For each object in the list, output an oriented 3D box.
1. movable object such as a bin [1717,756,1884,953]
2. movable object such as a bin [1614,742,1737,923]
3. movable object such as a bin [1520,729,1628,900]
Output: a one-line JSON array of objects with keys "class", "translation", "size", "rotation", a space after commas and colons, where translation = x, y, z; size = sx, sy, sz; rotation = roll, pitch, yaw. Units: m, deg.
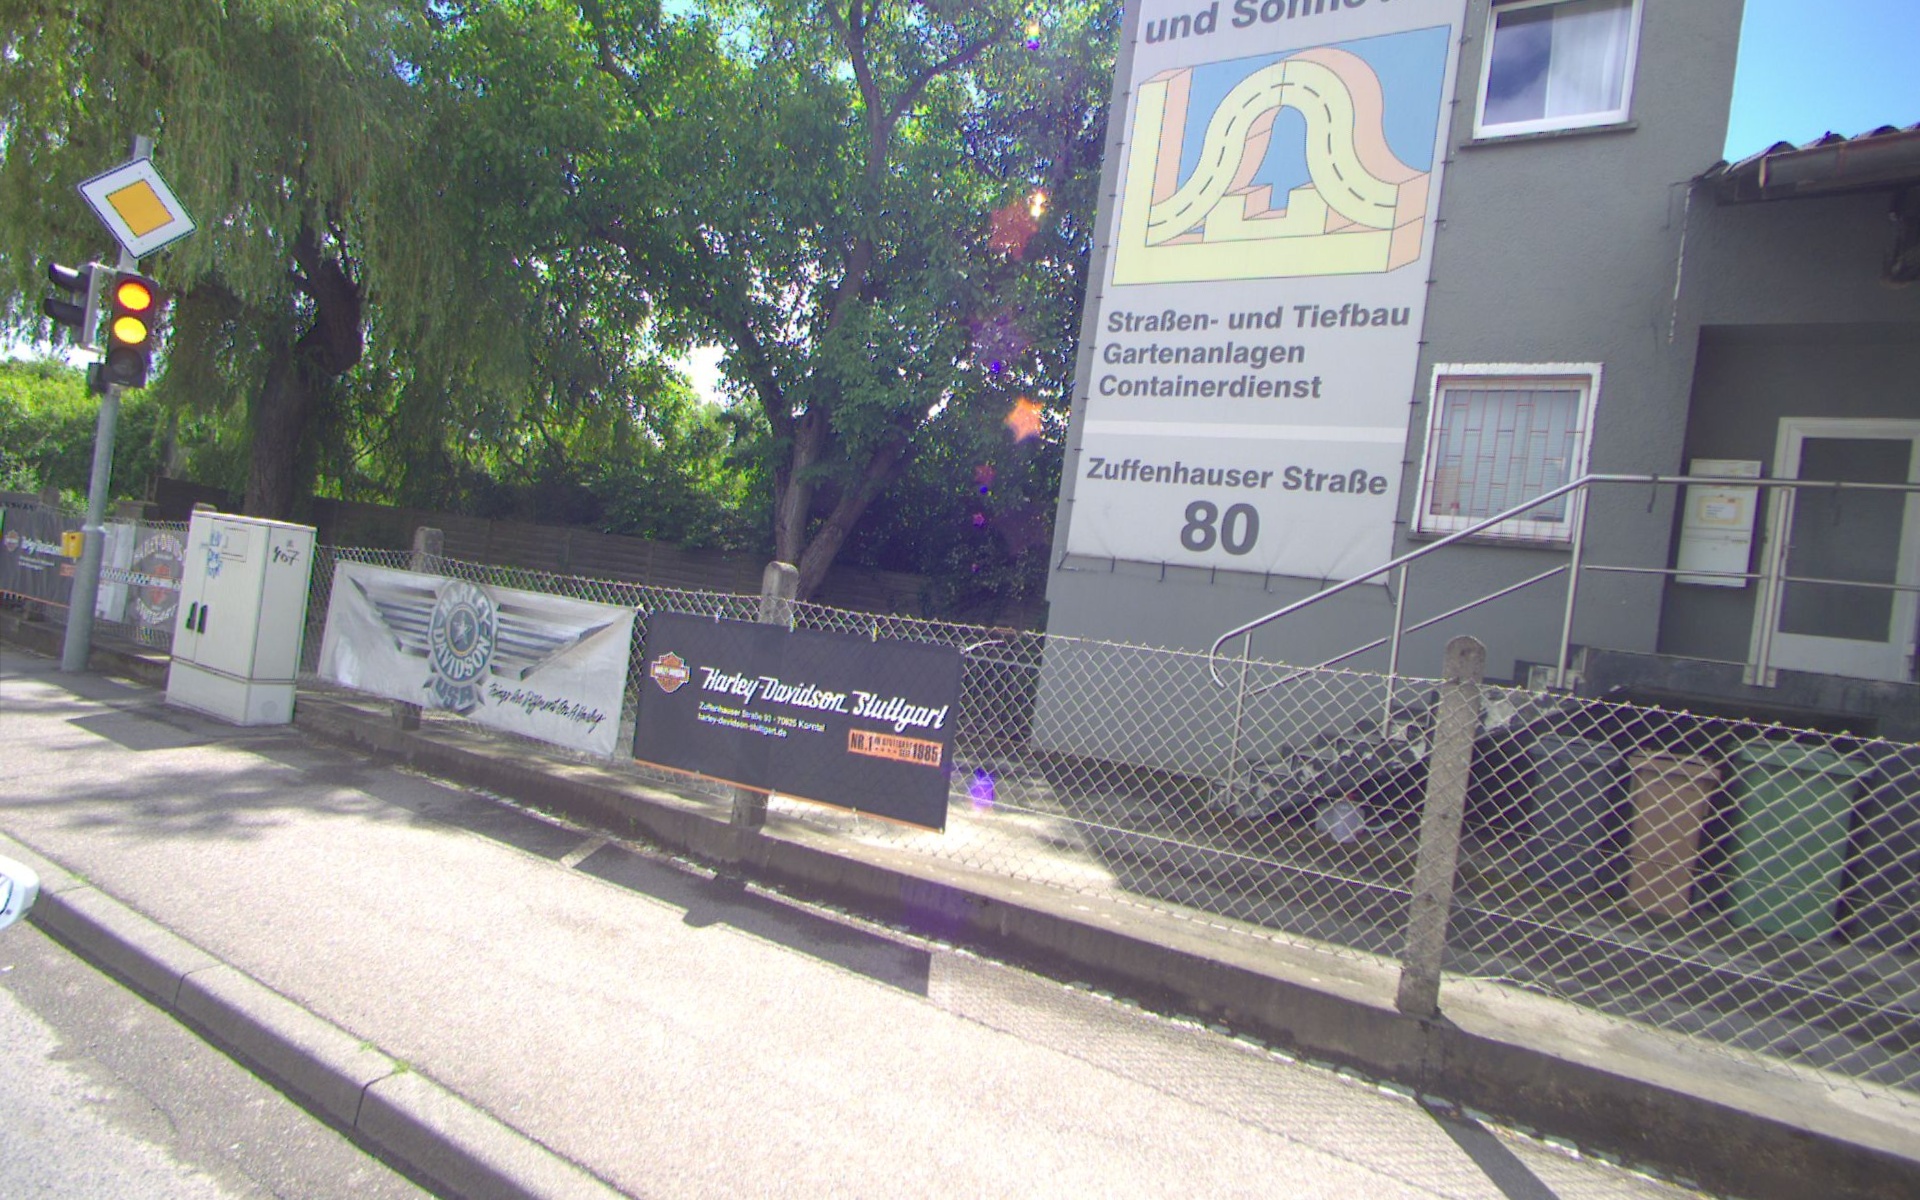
[{"class": "movable object such as a bin", "translation": [4.761, 1.416, 5.733], "size": [0.574, 0.941, 0.482], "rotation": [6, -1, 30]}, {"class": "movable object such as a bin", "translation": [4.265, 1.361, 6.023], "size": [0.466, 0.941, 0.482], "rotation": [7, -1, 30]}, {"class": "movable object such as a bin", "translation": [3.820, 1.313, 6.286], "size": [0.466, 0.941, 0.482], "rotation": [7, -1, 30]}]
